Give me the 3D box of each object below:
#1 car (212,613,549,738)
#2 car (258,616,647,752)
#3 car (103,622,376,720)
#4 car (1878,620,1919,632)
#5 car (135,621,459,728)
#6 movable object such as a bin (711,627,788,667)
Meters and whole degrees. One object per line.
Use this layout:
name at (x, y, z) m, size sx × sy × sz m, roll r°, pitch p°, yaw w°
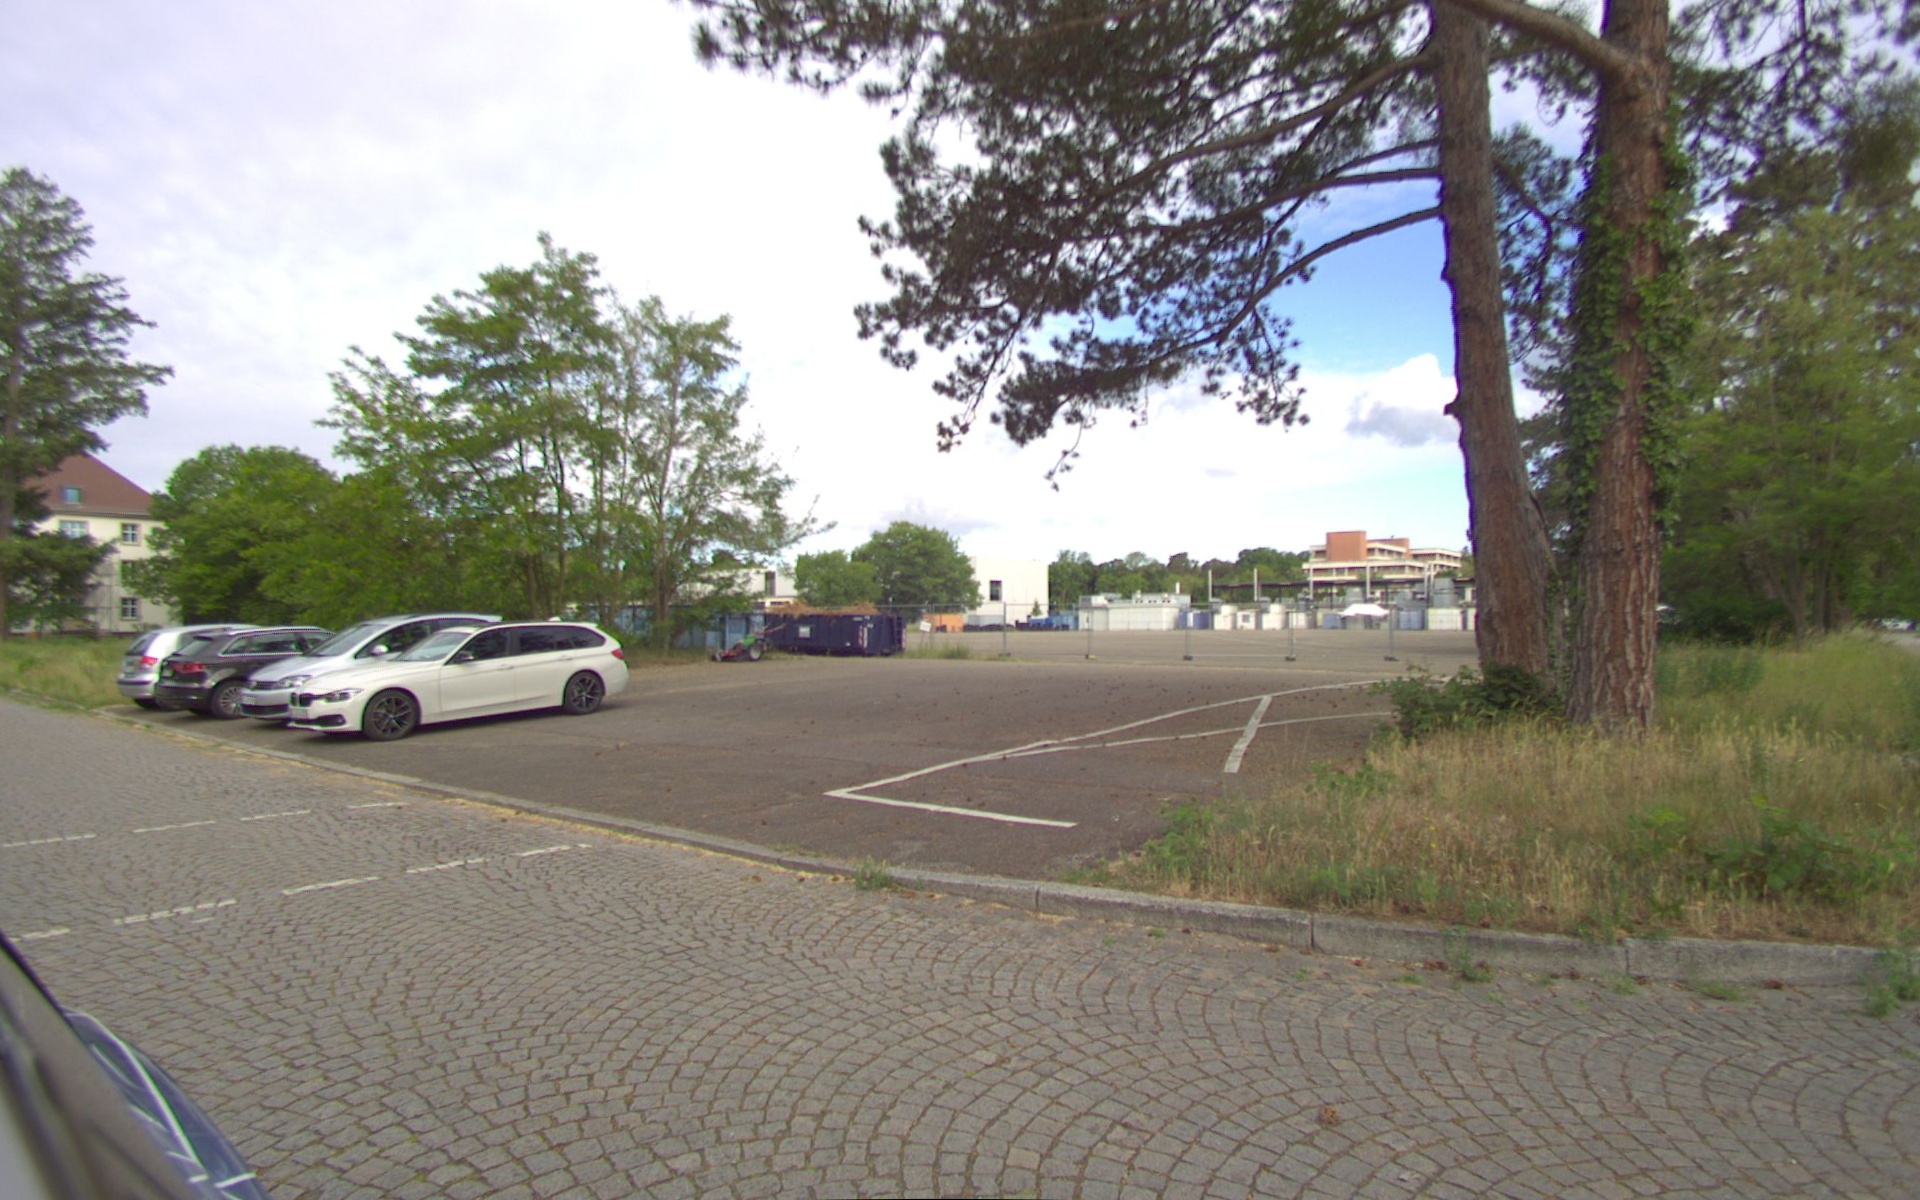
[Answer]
car at (-9.112, 1.088, 16.274) m, size 1.867 × 1.610 × 4.327 m, roll -2°, pitch 0°, yaw 33°
car at (-7.113, 1.084, 14.689) m, size 1.864 × 1.499 × 4.695 m, roll -3°, pitch -1°, yaw 37°
car at (-13.548, 1.255, 19.232) m, size 1.582 × 1.481 × 3.914 m, roll -2°, pitch 1°, yaw 36°
car at (120.353, 3.291, 129.342) m, size 4.333 × 1.561 × 1.973 m, roll -2°, pitch -2°, yaw 41°
car at (-11.377, 1.184, 17.668) m, size 1.719 × 1.435 × 4.394 m, roll -2°, pitch 1°, yaw 37°
movable object such as a bin at (-6.255, 1.382, 30.163) m, size 0.857 × 1.134 × 2.240 m, roll -1°, pitch -2°, yaw 38°
